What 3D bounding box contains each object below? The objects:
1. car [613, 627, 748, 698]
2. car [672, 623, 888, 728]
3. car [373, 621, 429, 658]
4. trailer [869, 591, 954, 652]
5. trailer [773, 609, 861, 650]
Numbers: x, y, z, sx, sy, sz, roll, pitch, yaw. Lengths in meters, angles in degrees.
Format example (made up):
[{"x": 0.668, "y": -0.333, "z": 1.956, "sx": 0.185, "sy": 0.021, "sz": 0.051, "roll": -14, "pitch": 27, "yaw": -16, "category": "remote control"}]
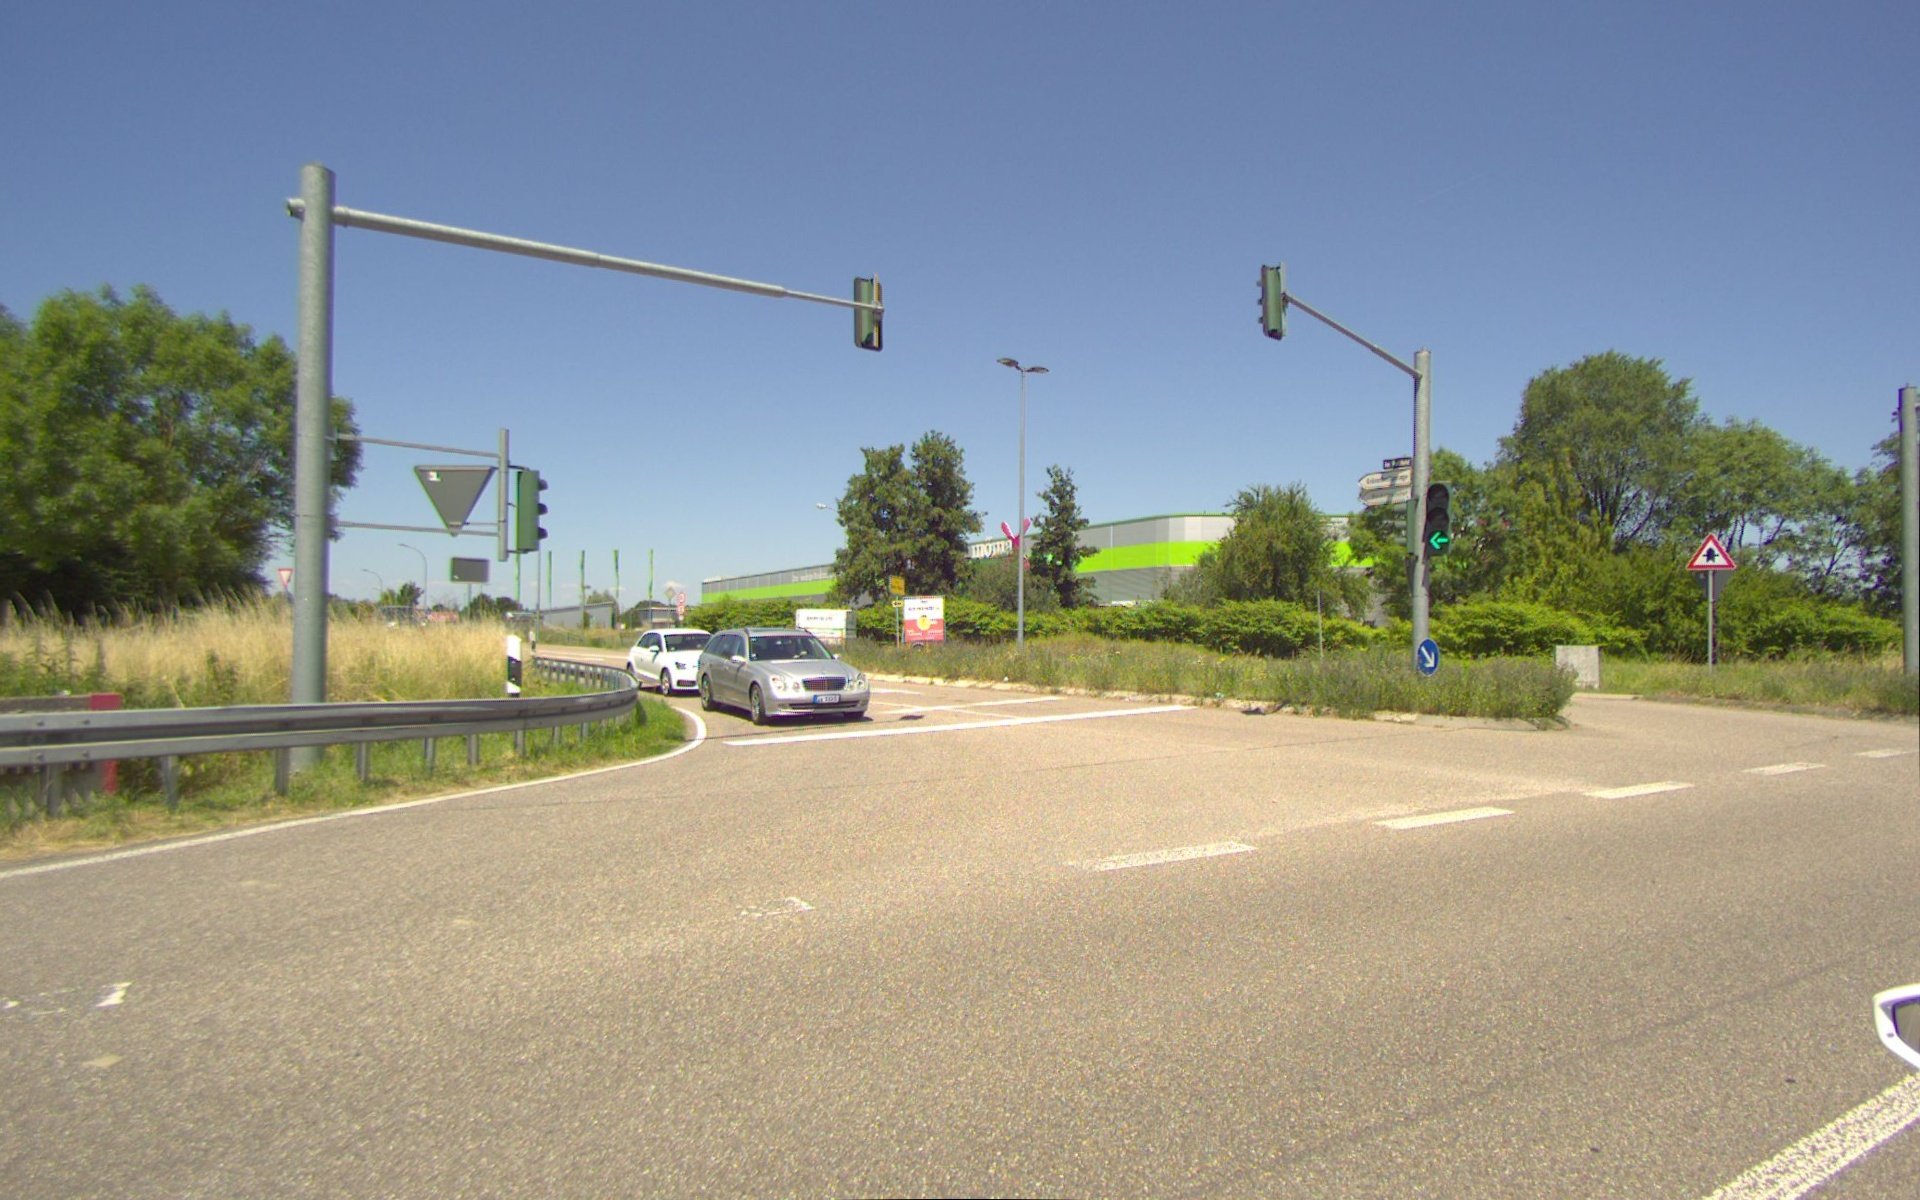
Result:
[{"x": -6.497, "y": 1.361, "z": 23.074, "sx": 1.754, "sy": 1.417, "sz": 3.924, "roll": 1, "pitch": -1, "yaw": -36, "category": "car"}, {"x": -3.236, "y": 1.171, "z": 17.147, "sx": 1.858, "sy": 1.476, "sz": 4.925, "roll": 2, "pitch": -1, "yaw": -33, "category": "car"}, {"x": -26.881, "y": 1.840, "z": 48.272, "sx": 1.755, "sy": 1.646, "sz": 4.189, "roll": 1, "pitch": -1, "yaw": -38, "category": "car"}, {"x": -2.329, "y": 1.027, "z": 48.402, "sx": 3.682, "sy": 2.801, "sz": 1.828, "roll": 1, "pitch": -1, "yaw": 14, "category": "trailer"}, {"x": -6.809, "y": 1.389, "z": 47.872, "sx": 3.682, "sy": 1.815, "sz": 1.828, "roll": 1, "pitch": -1, "yaw": 15, "category": "trailer"}]
